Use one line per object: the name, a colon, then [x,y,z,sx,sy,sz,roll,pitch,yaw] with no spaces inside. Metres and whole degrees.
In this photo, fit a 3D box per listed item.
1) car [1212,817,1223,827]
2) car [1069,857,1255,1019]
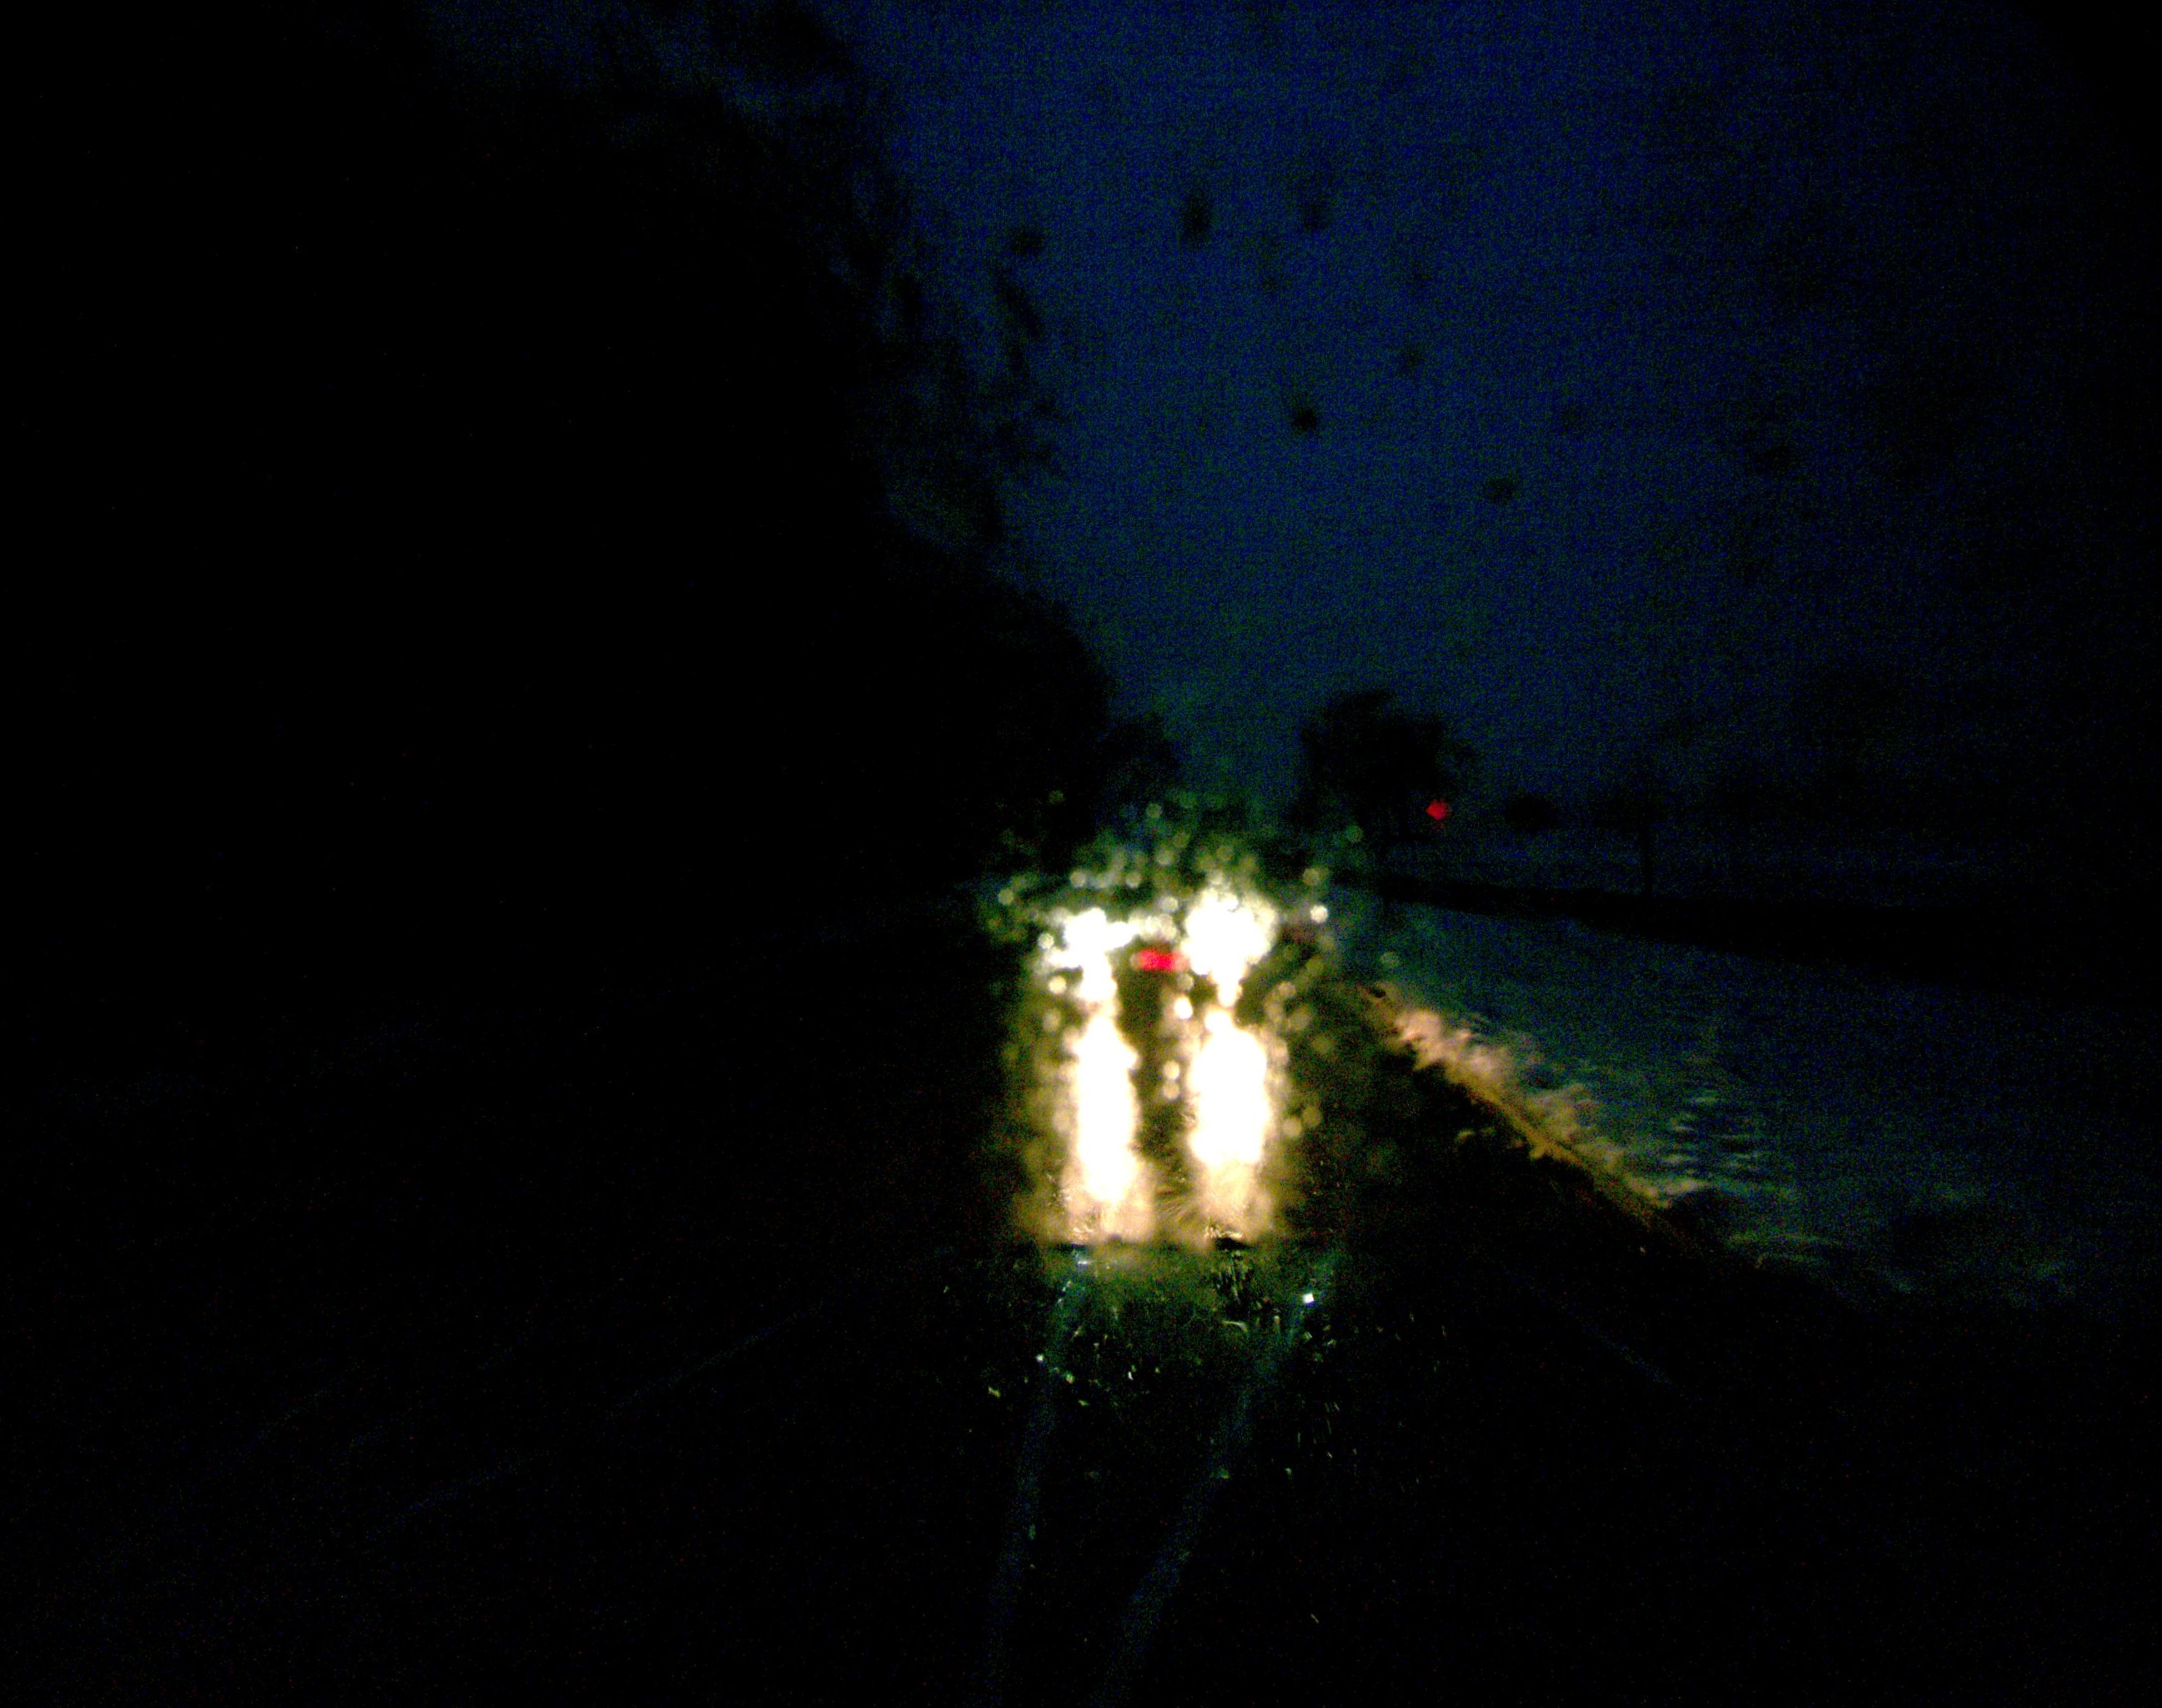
car: [25.676,-5.941,142.788,1.997,1.797,4.001,-2,2,9]
car: [1.007,0.832,9.150,1.724,1.426,3.678,-2,1,7]
